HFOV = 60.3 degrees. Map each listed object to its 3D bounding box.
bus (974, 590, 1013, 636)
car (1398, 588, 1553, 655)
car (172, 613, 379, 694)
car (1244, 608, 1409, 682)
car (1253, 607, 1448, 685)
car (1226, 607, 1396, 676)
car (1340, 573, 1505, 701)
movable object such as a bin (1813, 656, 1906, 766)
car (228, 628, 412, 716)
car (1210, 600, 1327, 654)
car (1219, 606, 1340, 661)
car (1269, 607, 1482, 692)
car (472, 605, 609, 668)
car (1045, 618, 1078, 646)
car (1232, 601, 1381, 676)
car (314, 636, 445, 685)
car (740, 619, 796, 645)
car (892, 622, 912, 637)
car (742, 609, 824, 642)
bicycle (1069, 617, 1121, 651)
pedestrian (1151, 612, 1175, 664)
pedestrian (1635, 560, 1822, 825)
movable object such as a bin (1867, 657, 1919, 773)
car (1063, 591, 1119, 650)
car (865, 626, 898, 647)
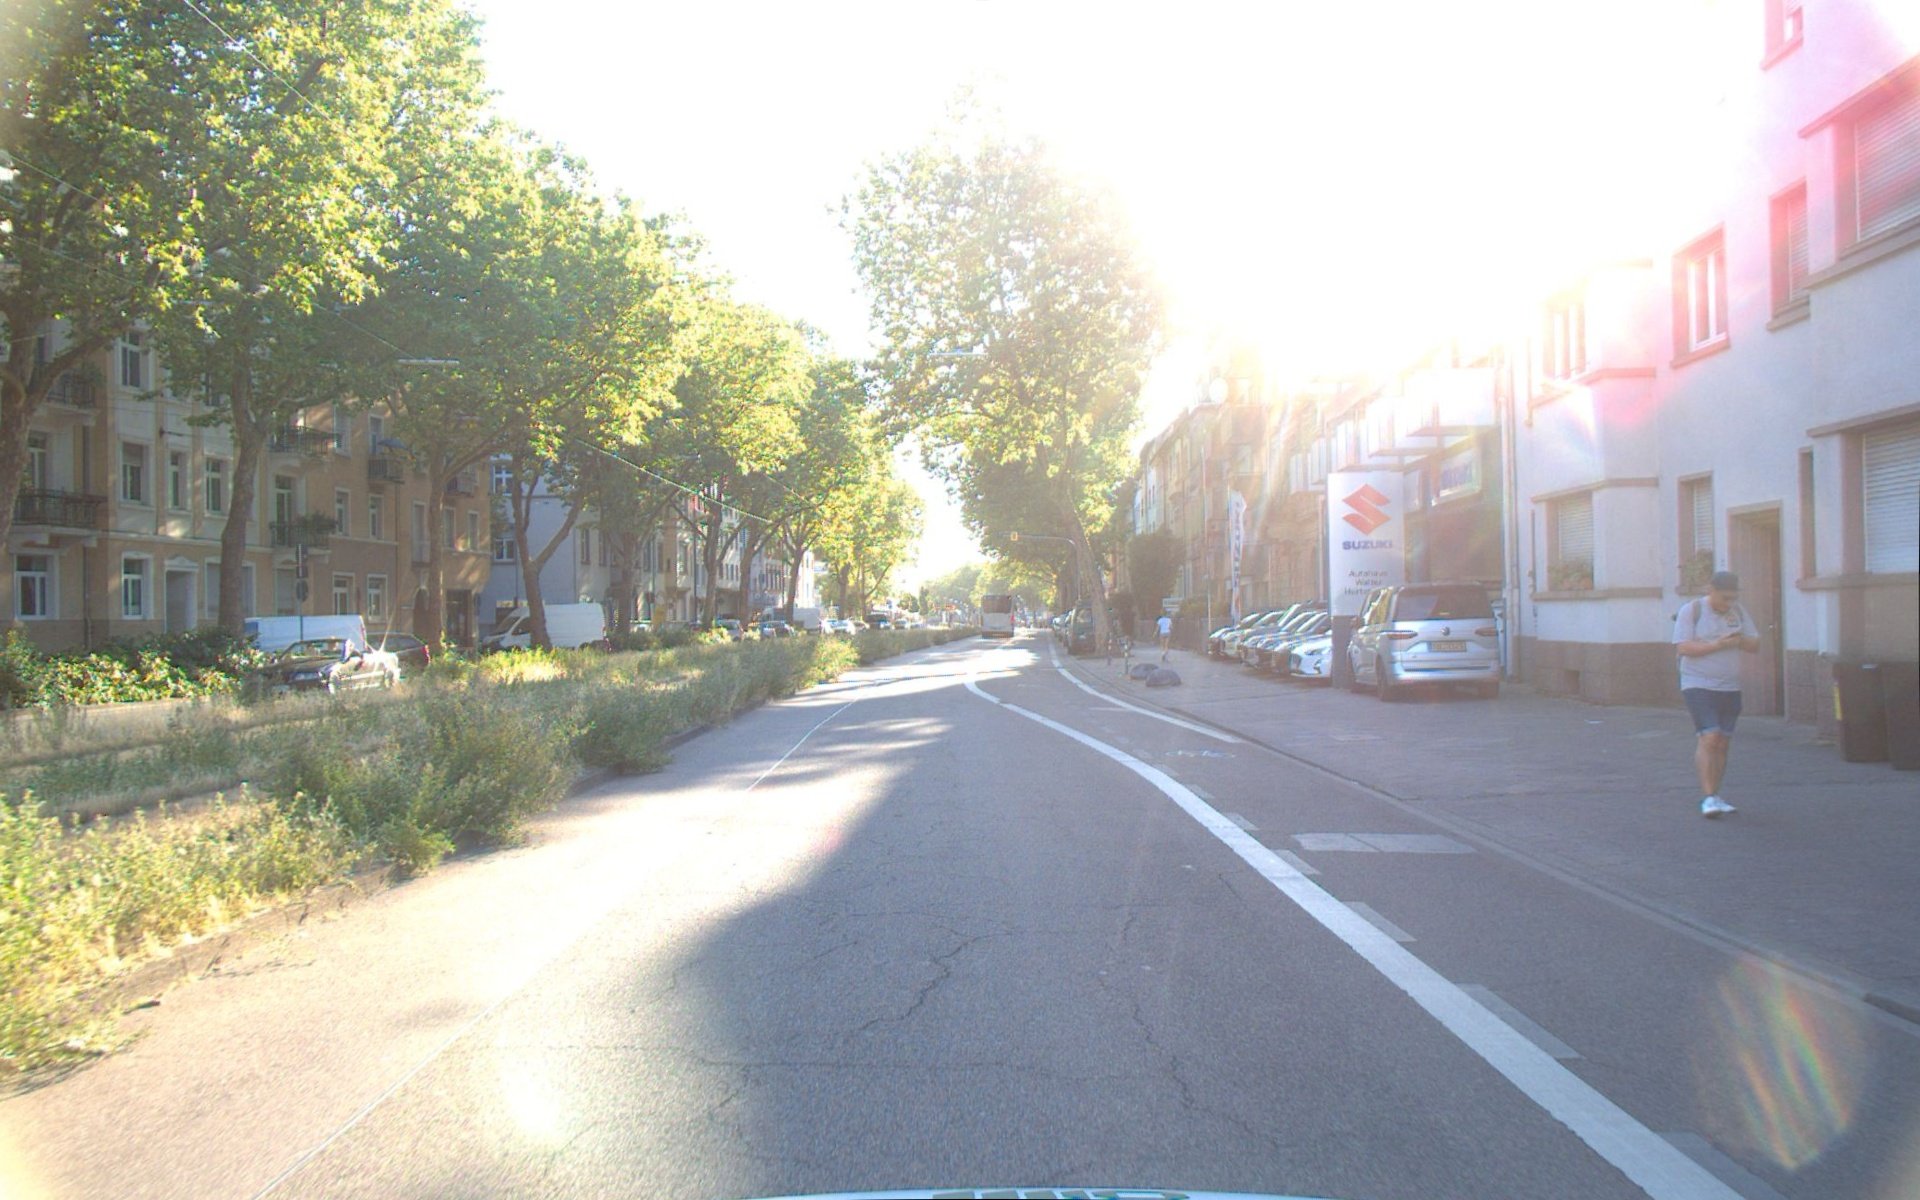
[{"bbox_3d":[2.494,1.012,125.836,2.775,3.292,8.181,-1,-1,0],"label":"bus"},{"bbox_3d":[13.467,0.577,43.330,1.606,1.685,3.542,-1,-1,-44],"label":"car"},{"bbox_3d":[-19.457,1.477,47.164,5.197,2.102,1.697,-1,-1,-40],"label":"car"},{"bbox_3d":[8.346,1.014,37.889,3.349,1.552,1.740,-1,-1,-2],"label":"car"},{"bbox_3d":[8.391,0.967,35.768,3.789,1.540,1.809,-1,0,1],"label":"car"},{"bbox_3d":[8.510,0.994,40.338,3.740,1.567,1.859,-1,-1,1],"label":"car"},{"bbox_3d":[7.864,0.646,28.573,1.852,1.983,4.903,-1,-1,5],"label":"car"},{"bbox_3d":[8.351,1.021,15.373,0.542,0.986,0.585,-1,-2,4],"label":"movable object such as a bin"},{"bbox_3d":[-12.893,1.404,33.647,1.681,1.512,4.700,-4,-1,2],"label":"car"},{"bbox_3d":[9.589,0.846,51.561,3.348,1.574,1.442,-1,-2,0],"label":"car"},{"bbox_3d":[9.475,1.005,49.275,3.346,1.545,1.758,-1,-2,4],"label":"car"},{"bbox_3d":[8.285,0.965,33.173,3.735,1.527,1.912,-1,0,-3],"label":"car"},{"bbox_3d":[-18.304,1.583,72.367,5.457,2.573,2.095,-1,-1,-40],"label":"car"},{"bbox_3d":[6.706,2.117,108.636,1.707,1.801,4.397,-2,-1,9],"label":"car"},{"bbox_3d":[8.798,0.963,42.190,3.505,1.750,1.683,-1,1,4],"label":"car"},{"bbox_3d":[-18.877,1.955,53.841,3.693,1.447,1.697,-1,-1,-40],"label":"car"},{"bbox_3d":[-14.965,2.492,129.066,3.944,1.728,1.838,-3,-1,-29],"label":"car"},{"bbox_3d":[-6.077,3.083,173.206,1.753,1.601,4.001,-1,-1,3],"label":"car"},{"bbox_3d":[-15.495,2.226,144.724,6.831,2.725,2.174,-1,-2,-19],"label":"car"},{"bbox_3d":[4.832,1.219,59.342,1.806,1.163,0.348,-1,-2,2],"label":"bicycle"},{"bbox_3d":[6.552,1.219,53.400,0.649,1.657,0.923,-1,-2,2],"label":"pedestrian"},{"bbox_3d":[5.655,0.666,12.248,0.811,1.844,1.150,-1,-2,1],"label":"pedestrian"},{"bbox_3d":[8.408,0.999,14.533,0.542,0.986,0.585,-1,-2,4],"label":"movable object such as a bin"},{"bbox_3d":[5.342,0.862,68.098,1.952,2.297,5.235,-1,-1,1],"label":"car"},{"bbox_3d":[-6.733,3.105,141.483,1.838,1.723,4.757,-1,-1,-15],"label":"car"}]
